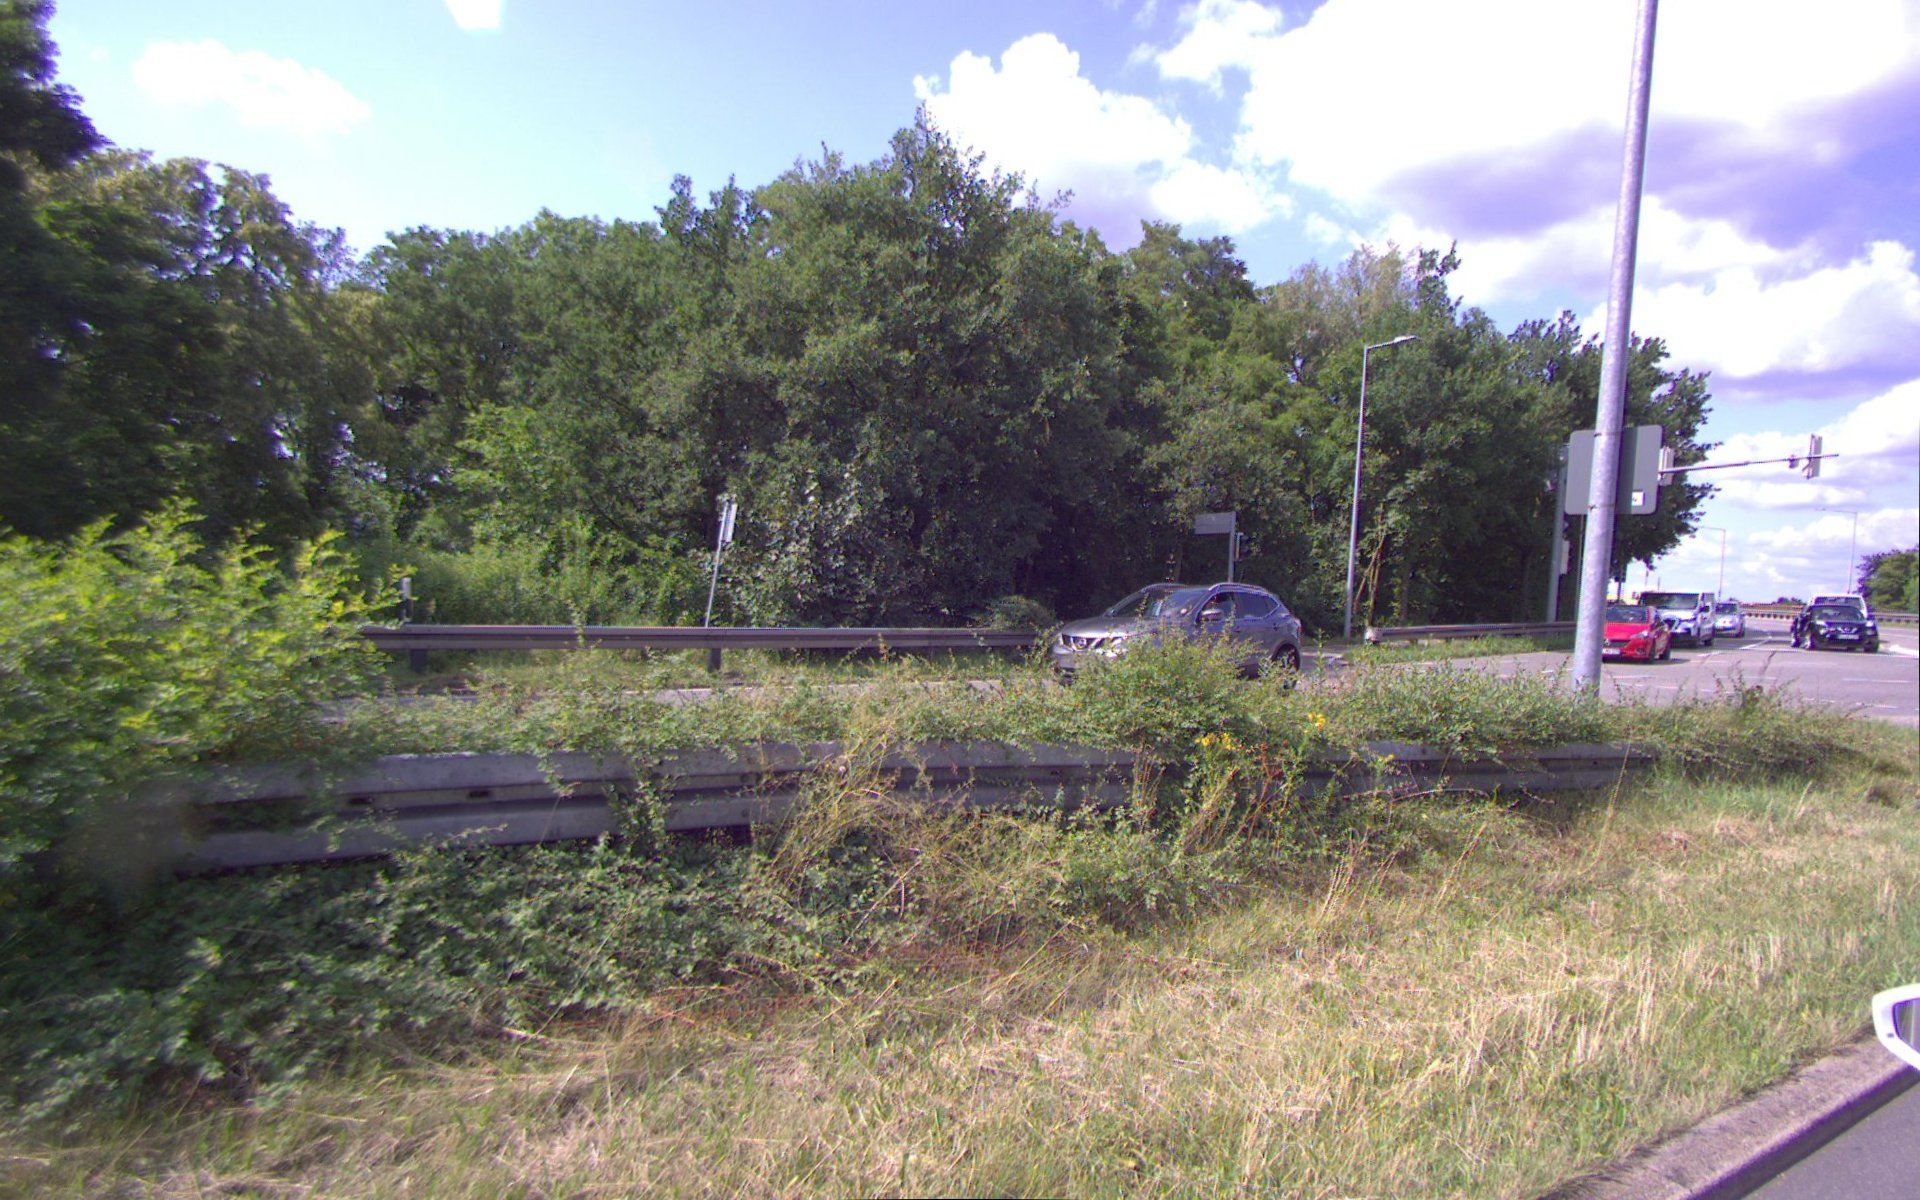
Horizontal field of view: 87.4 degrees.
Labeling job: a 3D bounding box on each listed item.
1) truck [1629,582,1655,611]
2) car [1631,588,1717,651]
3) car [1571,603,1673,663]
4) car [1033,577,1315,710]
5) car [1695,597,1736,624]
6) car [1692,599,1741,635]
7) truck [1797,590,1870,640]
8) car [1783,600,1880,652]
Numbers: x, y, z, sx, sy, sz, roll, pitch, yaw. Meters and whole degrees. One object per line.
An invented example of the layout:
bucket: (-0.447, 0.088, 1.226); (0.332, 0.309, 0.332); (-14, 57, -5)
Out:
truck: (62.826, -0.338, 92.576); (1.966, 2.656, 6.085); (0, 1, 34)
car: (24.886, 0.669, 34.931); (1.971, 2.040, 5.109); (0, -1, 41)
car: (17.614, 0.832, 26.639); (1.564, 1.451, 3.976); (1, 0, 44)
car: (3.135, 0.562, 14.207); (4.248, 1.607, 1.695); (1, -1, -41)
car: (44.390, 0.606, 59.110); (1.659, 1.498, 4.698); (0, 0, 34)
car: (33.664, 0.743, 44.673); (1.711, 1.541, 4.051); (0, -1, 38)
truck: (36.802, 0.594, 42.449); (1.936, 1.939, 5.348); (2, 1, 37)
car: (29.201, 0.824, 33.758); (1.673, 1.578, 3.815); (2, 1, 29)
